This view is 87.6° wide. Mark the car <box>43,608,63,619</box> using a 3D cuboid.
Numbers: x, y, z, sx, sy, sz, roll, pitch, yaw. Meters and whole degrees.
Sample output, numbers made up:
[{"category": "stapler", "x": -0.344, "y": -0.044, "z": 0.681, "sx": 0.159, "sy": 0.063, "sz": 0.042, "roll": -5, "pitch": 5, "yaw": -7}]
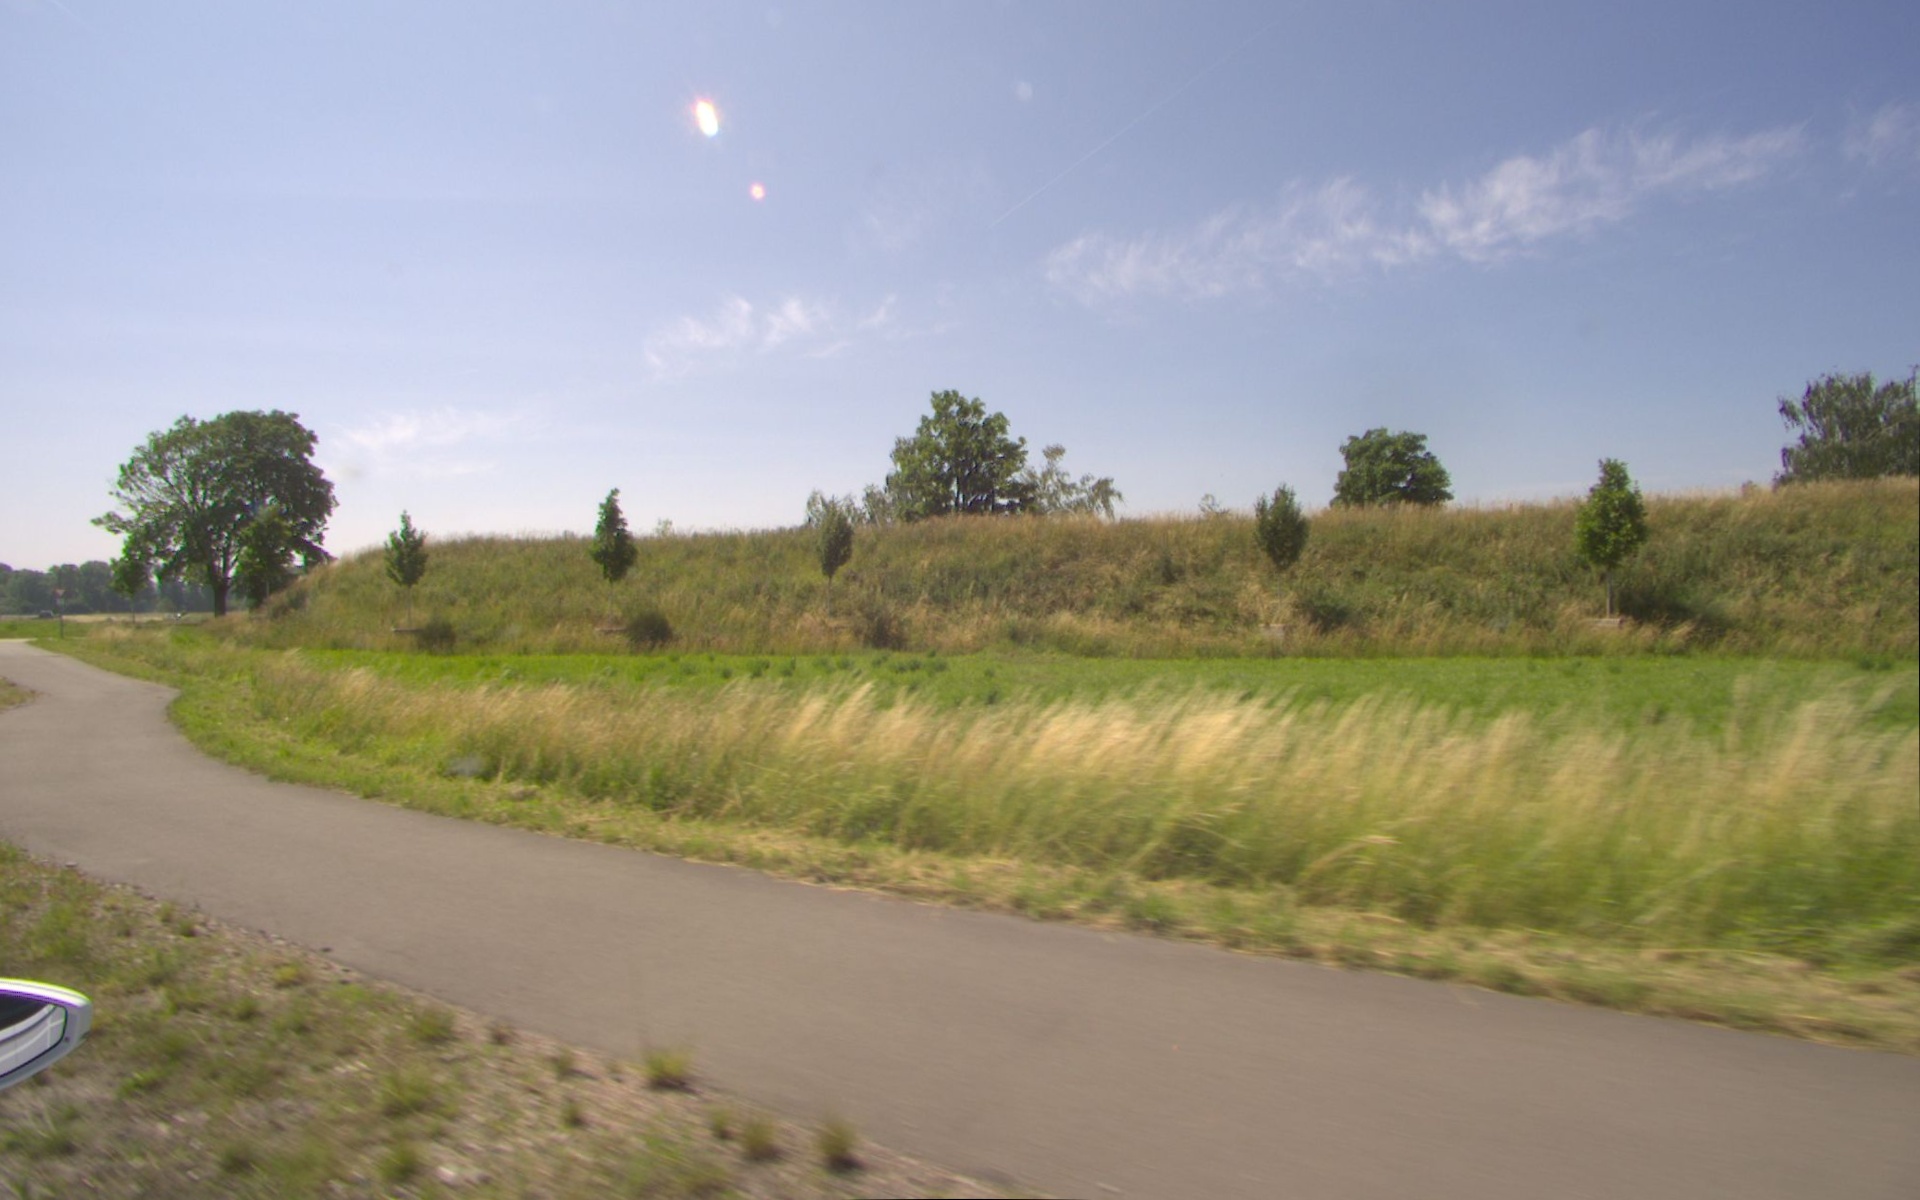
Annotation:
[{"category": "car", "x": -139.887, "y": 2.033, "z": 154.446, "sx": 1.783, "sy": 1.541, "sz": 3.855, "roll": 2, "pitch": -1, "yaw": -35}]

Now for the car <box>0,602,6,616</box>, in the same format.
[{"category": "car", "x": -113.721, "y": 1.055, "z": 117.727, "sx": 1.784, "sy": 1.496, "sz": 4.380, "roll": -2, "pitch": 0, "yaw": -39}]
